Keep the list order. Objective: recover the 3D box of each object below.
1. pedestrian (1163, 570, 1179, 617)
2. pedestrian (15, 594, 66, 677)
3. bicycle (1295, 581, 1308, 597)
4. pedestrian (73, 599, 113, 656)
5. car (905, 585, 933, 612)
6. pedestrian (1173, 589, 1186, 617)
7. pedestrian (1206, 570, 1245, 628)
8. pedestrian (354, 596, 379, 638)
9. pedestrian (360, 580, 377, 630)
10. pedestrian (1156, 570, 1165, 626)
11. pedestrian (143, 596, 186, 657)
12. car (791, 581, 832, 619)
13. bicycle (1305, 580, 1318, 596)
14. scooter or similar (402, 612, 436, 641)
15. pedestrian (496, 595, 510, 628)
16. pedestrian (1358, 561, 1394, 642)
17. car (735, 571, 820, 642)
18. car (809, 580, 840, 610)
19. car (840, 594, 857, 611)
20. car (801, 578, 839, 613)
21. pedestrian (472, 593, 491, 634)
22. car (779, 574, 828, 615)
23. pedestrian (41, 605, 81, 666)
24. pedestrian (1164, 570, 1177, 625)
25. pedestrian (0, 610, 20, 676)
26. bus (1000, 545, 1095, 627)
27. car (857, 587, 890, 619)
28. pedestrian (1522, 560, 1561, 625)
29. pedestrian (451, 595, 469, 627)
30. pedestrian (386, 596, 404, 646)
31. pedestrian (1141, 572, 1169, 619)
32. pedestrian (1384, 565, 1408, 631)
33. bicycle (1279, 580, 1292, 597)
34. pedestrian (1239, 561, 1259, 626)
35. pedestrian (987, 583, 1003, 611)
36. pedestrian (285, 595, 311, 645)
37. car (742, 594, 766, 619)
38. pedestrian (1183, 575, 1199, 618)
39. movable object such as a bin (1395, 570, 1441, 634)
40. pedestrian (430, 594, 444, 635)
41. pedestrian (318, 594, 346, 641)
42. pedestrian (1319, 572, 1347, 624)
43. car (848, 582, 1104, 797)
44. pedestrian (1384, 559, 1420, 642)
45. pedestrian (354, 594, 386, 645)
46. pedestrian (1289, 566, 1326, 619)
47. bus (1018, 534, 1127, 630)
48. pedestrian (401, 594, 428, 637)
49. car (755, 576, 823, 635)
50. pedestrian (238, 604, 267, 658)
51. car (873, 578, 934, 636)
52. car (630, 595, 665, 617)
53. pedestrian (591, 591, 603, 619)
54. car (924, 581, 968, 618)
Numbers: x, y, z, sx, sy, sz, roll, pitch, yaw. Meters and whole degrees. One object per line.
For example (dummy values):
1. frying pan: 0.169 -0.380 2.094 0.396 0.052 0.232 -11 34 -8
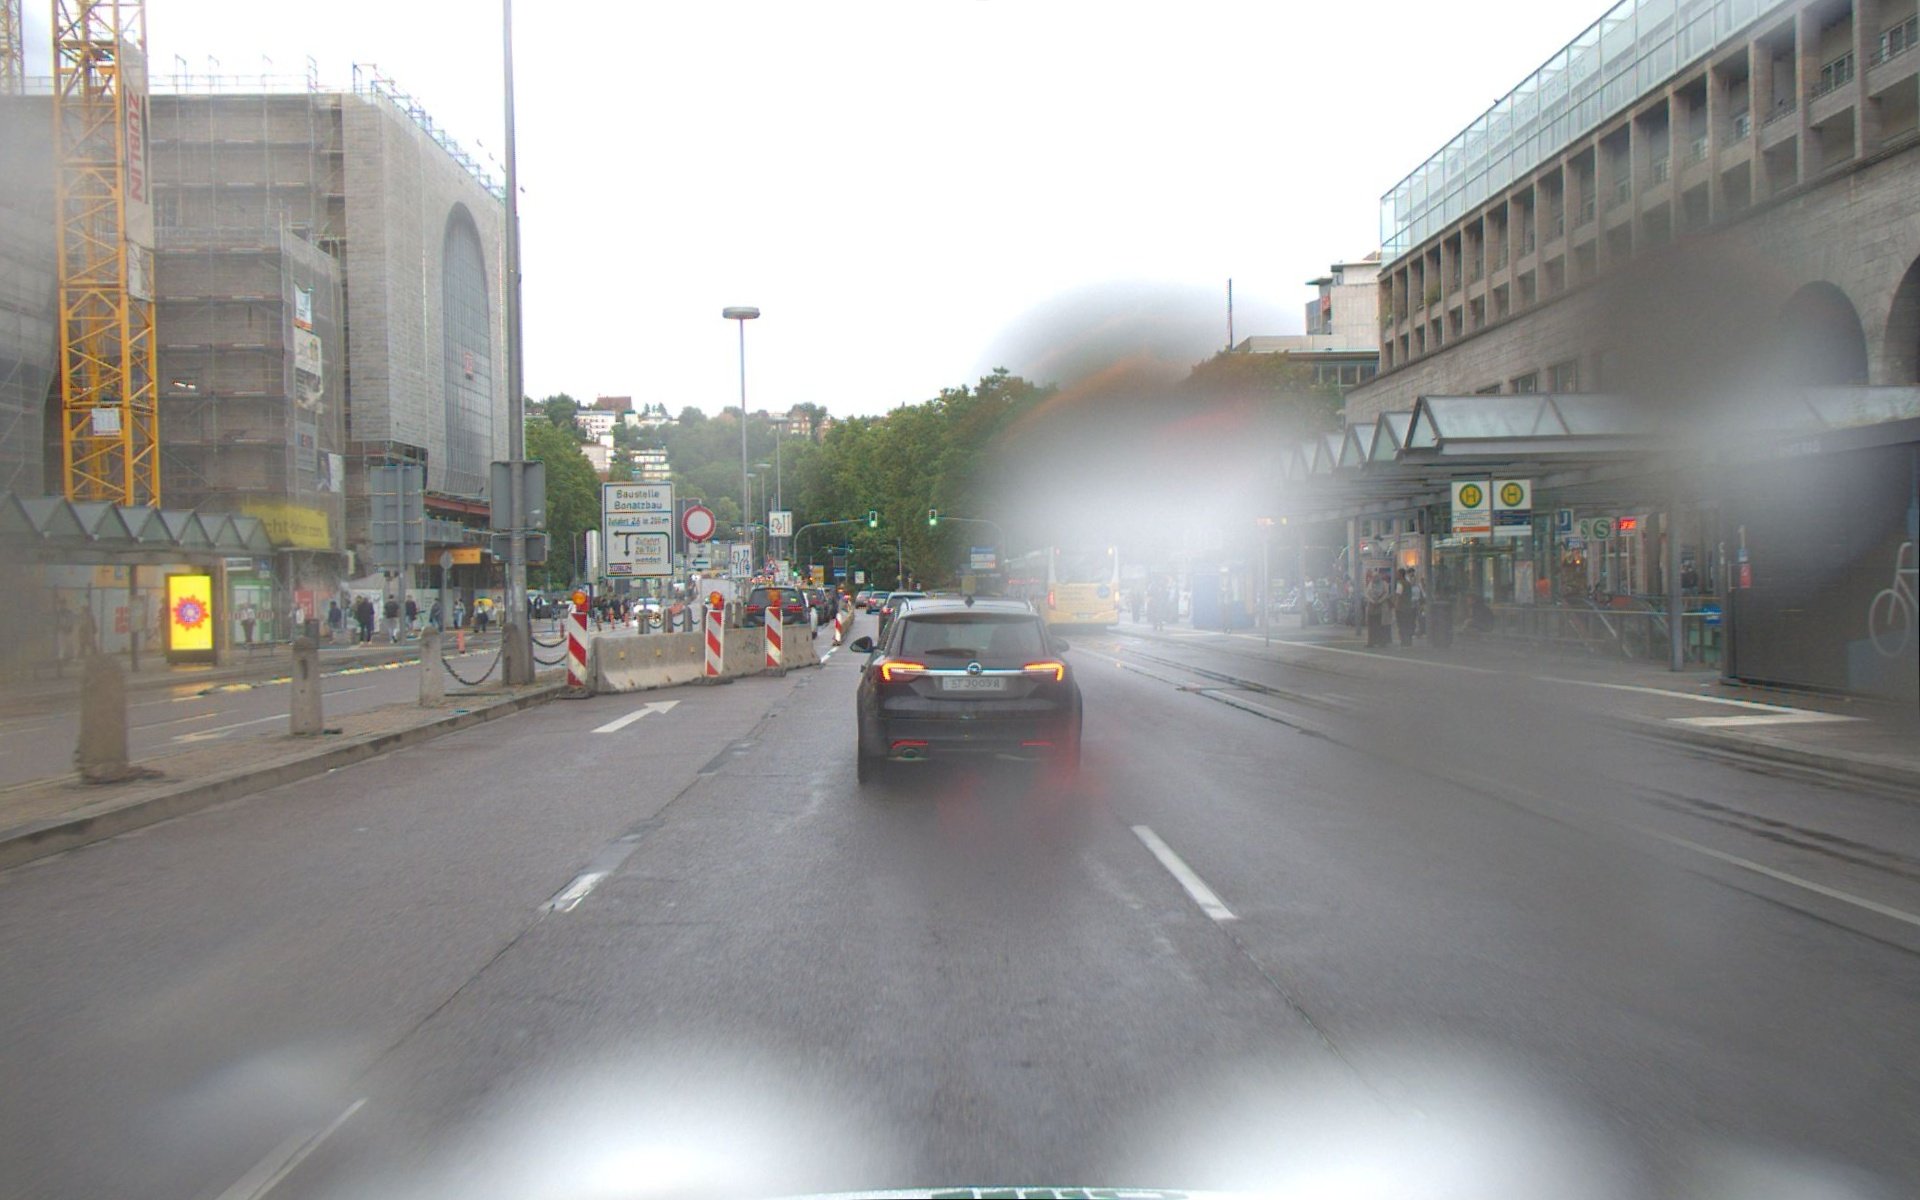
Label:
1. pedestrian: 8.569 -0.260 67.149 0.553 1.869 0.569 -1 0 1
2. pedestrian: -21.108 0.814 37.984 0.729 1.873 0.702 -1 0 18
3. bicycle: 23.541 -0.785 114.132 0.603 1.074 1.997 -3 0 5
4. pedestrian: -24.659 0.775 47.036 0.787 1.574 0.700 -1 0 -8
5. car: -2.589 -0.097 102.837 1.641 1.609 3.237 0 0 -3
6. pedestrian: 9.940 0.131 74.901 0.504 1.254 0.770 -1 0 0
7. pedestrian: 8.056 -0.031 50.161 0.749 1.719 0.992 -1 0 -23
8. pedestrian: -26.564 0.765 74.050 0.786 1.873 0.851 -1 0 1
9. pedestrian: -22.280 0.203 62.298 0.332 1.873 0.509 -1 0 24
10. pedestrian: 6.786 -0.061 55.926 0.238 1.869 0.512 -1 0 1
11. pedestrian: -24.899 0.809 51.777 0.840 1.873 1.044 1 0 -2
12. car: -7.548 -0.025 84.318 1.954 1.818 4.450 -2 0 -5
13. bicycle: 24.271 -0.855 114.142 0.603 1.043 1.997 -3 0 5
14. scooter or similar: -20.755 1.007 63.432 0.450 1.084 1.237 -1 0 32
15. pedestrian: -23.760 0.596 86.027 0.670 1.715 0.835 -1 0 -16
16. pedestrian: 9.740 0.026 38.722 0.662 1.869 0.574 -1 0 -1
17. car: -5.196 0.154 47.569 1.953 1.895 4.831 -1 0 -1
18. car: -8.317 -0.319 101.857 1.751 1.715 4.664 -2 0 -3
19. car: -11.578 0.257 172.413 1.672 1.694 3.704 0 0 -2
20. car: -7.607 -0.233 90.324 1.954 1.818 4.844 -2 0 -4
21. pedestrian: -22.320 0.617 77.172 0.861 1.873 0.835 -1 0 -16
22. car: -6.854 -0.255 72.833 1.954 1.682 4.638 -2 0 -4
23. pedestrian: -25.483 0.994 46.892 0.787 1.700 0.700 -1 0 -8
24. pedestrian: 7.126 -0.085 55.972 0.339 1.869 0.533 -1 0 1
25. pedestrian: -24.363 1.076 41.798 0.787 1.636 0.701 -1 0 -4
26. bus: 3.602 -0.565 70.550 3.051 3.261 9.236 0 0 -3
27. car: -5.661 0.190 108.004 1.945 2.049 4.364 0 0 -6
28. pedestrian: 16.939 -0.231 48.200 0.752 1.863 0.745 -1 0 -31
29. pedestrian: -25.904 0.551 85.628 0.662 1.642 0.838 -1 0 0
30. pedestrian: -21.296 0.773 62.354 0.498 1.873 0.703 -1 0 -8
31. pedestrian: 7.722 -0.176 65.485 0.964 1.869 0.836 -1 0 13
32. pedestrian: 12.703 -0.066 48.192 0.594 1.892 0.625 -1 0 7
33. bicycle: 22.446 -0.785 114.062 0.603 1.121 2.026 -3 0 5
34. pedestrian: 10.054 -0.230 57.575 0.578 2.254 0.587 -1 0 -1
35. pedestrian: 2.398 -0.216 112.576 0.774 1.871 0.946 -1 0 -18
36. pedestrian: -25.113 0.766 62.780 0.706 1.873 0.612 -1 0 1
37. car: -17.746 0.554 142.455 1.956 2.049 5.360 0 0 -8
38. pedestrian: 9.370 -0.143 67.104 0.597 1.753 0.592 -1 0 1
39. movable object such as a bin: 12.191 0.047 43.996 0.654 1.681 1.040 -1 0 -25
40. pedestrian: -24.329 0.684 76.901 0.561 1.873 0.701 -1 0 -16
41. pedestrian: -25.536 0.702 67.252 0.786 1.873 0.868 -1 0 1
42. pedestrian: 12.408 -0.069 55.070 0.733 1.724 0.902 -1 0 1
43. car: 0.079 0.635 14.418 1.839 1.534 4.851 -1 0 -1
44. pedestrian: 10.025 0.005 37.532 0.614 1.869 0.641 -1 0 0
45. pedestrian: -21.997 0.708 61.636 0.688 1.873 0.877 -1 0 26
46. pedestrian: 12.266 -0.263 58.409 0.778 1.836 0.982 -1 0 -31
47. bus: 4.025 -0.609 61.396 3.078 3.304 9.131 0 0 -2
48. pedestrian: -24.309 0.679 73.732 0.822 1.873 1.058 -1 0 1
49. car: -5.426 0.163 52.983 1.954 1.735 4.828 -2 0 -4
50. pedestrian: -24.955 1.094 58.341 0.727 1.873 0.656 -1 0 1
51. car: -1.761 0.197 51.934 1.793 1.715 4.133 -1 0 -1
52. car: -22.460 0.430 119.012 1.953 1.493 3.998 0 0 -3
53. pedestrian: -24.344 0.353 110.941 0.684 1.873 0.877 0 0 -5
54. car: -0.701 -0.013 80.464 1.815 1.747 3.996 0 0 -5
